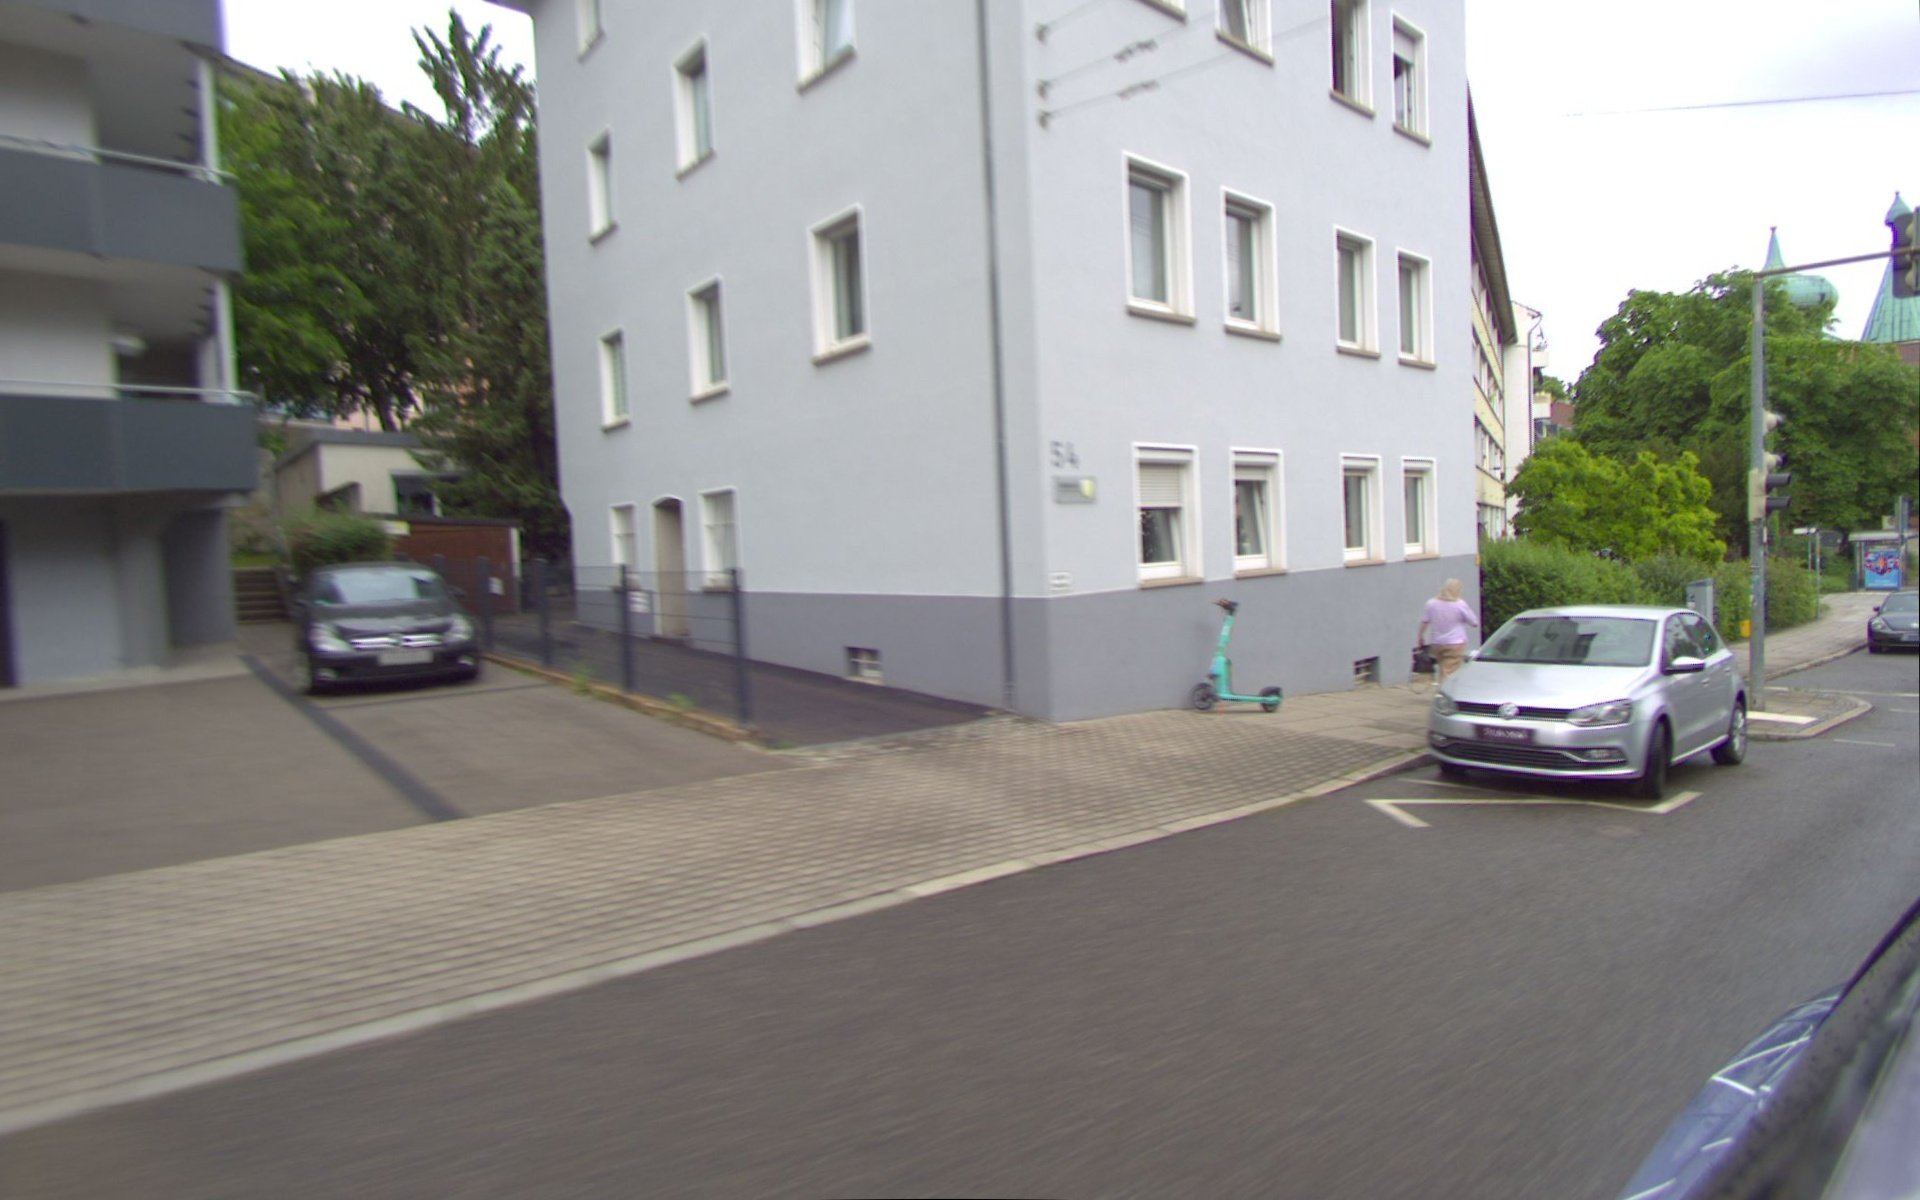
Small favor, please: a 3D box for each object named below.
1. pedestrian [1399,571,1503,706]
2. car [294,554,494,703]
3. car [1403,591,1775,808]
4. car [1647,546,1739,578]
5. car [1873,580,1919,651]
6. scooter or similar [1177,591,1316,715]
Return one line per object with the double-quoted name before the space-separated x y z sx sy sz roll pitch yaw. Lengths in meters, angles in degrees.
"pedestrian" 6.124 0.453 12.640 0.787 1.603 0.885 2 0 -38
"car" -7.256 0.189 12.748 1.785 1.449 4.386 -3 5 -34
"car" 5.683 0.684 8.938 4.031 1.451 1.707 -1 0 -42
"car" 39.838 -2.085 55.133 1.807 1.577 4.386 -3 3 0
"car" 23.976 0.322 24.856 4.137 1.482 1.942 -4 2 -43
"scooter or similar" 3.187 0.570 11.196 1.579 1.265 0.577 2 1 -36
